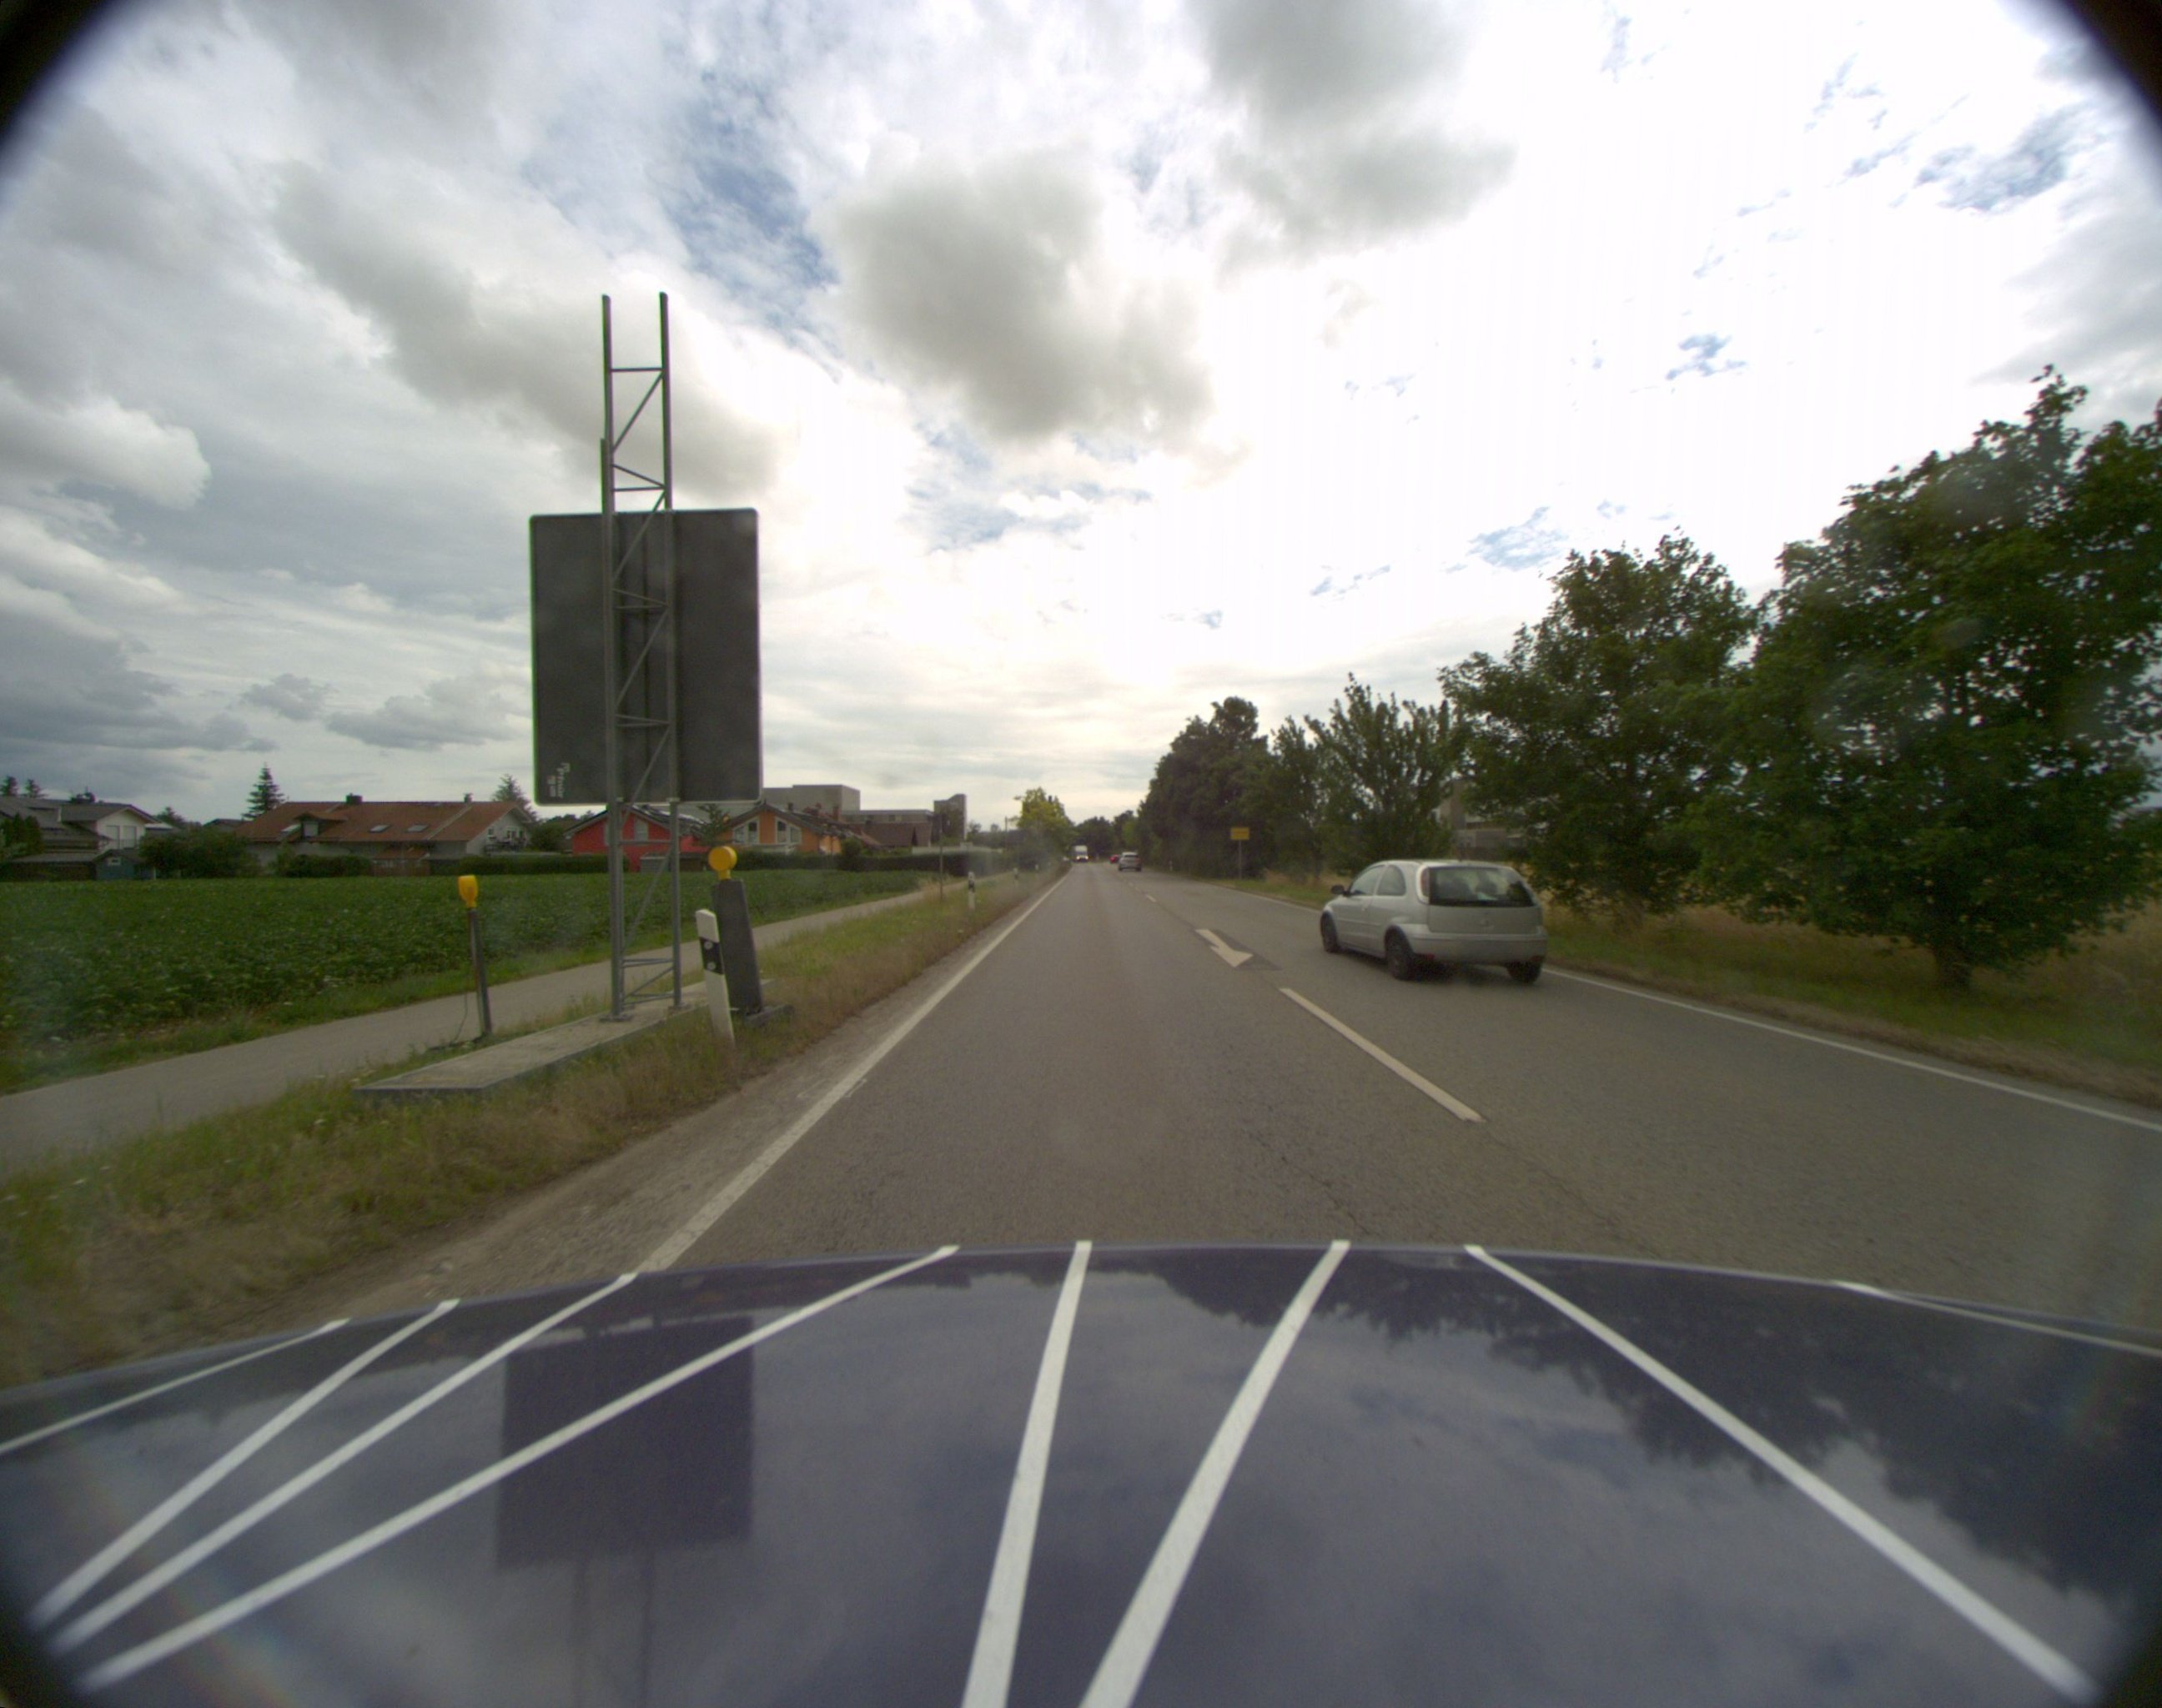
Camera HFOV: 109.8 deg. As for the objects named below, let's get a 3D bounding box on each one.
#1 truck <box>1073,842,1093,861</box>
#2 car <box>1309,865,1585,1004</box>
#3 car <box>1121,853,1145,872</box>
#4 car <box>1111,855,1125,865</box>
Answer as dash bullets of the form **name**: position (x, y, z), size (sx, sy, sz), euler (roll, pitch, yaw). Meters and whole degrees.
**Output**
- **truck**: position (0.380, -0.426, 143.924), size (2.616, 3.427, 7.501), euler (-2, 0, -9)
- **car**: position (4.397, 0.871, 9.875), size (1.733, 1.355, 3.949), euler (0, 0, 1)
- **car**: position (4.759, 0.780, 70.295), size (1.998, 1.674, 4.809), euler (1, 0, 1)
- **car**: position (6.168, 0.957, 127.241), size (1.945, 1.577, 4.555), euler (1, 1, -1)
